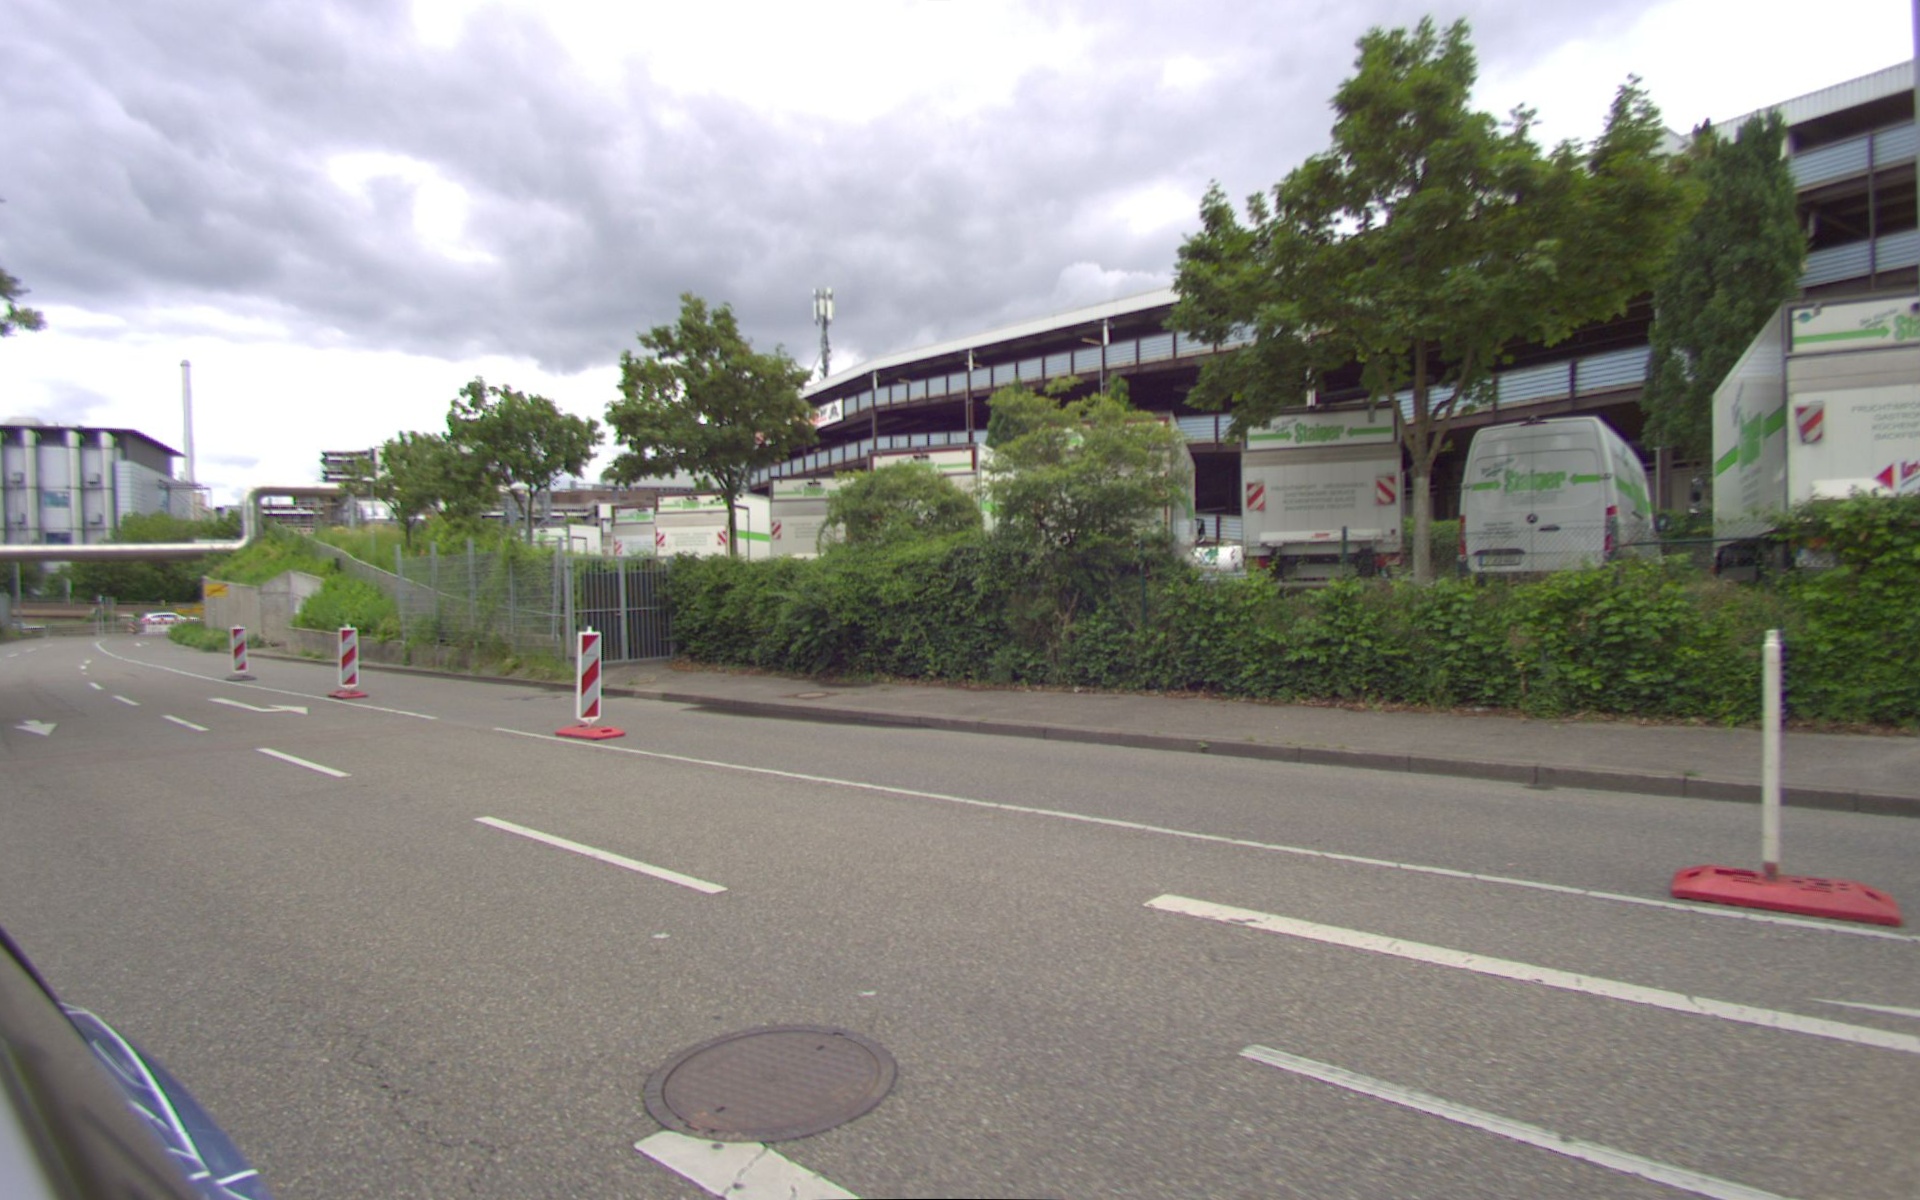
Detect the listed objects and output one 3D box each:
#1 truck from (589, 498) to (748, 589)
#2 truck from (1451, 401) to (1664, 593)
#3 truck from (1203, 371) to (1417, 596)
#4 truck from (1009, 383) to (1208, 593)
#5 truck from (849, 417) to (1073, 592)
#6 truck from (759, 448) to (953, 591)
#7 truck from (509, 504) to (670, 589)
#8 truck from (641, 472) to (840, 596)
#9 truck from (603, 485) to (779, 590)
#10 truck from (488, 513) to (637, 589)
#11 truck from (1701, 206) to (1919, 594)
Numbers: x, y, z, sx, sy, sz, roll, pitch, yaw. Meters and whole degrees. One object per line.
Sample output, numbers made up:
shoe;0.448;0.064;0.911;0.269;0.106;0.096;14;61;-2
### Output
truck;-12.327;-2.315;43.725;3.024;3.564;7.828;0;1;15
truck;9.174;-1.365;15.329;2.193;2.423;4.643;0;1;38
truck;6.349;-1.797;18.952;3.026;3.274;7.823;0;1;17
truck;3.471;-2.007;21.460;3.026;3.564;7.823;0;1;17
truck;0.372;-2.037;24.824;3.030;3.564;7.814;0;1;20
truck;-2.698;-2.110;29.429;3.024;3.564;7.828;0;1;15
truck;-16.837;-2.331;46.706;3.024;3.564;7.828;0;1;15
truck;-6.906;-2.000;33.409;3.024;3.564;8.115;0;1;15
truck;-10.026;-2.236;38.853;3.024;3.564;7.828;0;1;15
truck;-20.024;-2.403;51.618;3.024;3.564;7.828;0;1;15
truck;12.282;-2.160;13.630;3.042;4.020;7.783;0;1;31
